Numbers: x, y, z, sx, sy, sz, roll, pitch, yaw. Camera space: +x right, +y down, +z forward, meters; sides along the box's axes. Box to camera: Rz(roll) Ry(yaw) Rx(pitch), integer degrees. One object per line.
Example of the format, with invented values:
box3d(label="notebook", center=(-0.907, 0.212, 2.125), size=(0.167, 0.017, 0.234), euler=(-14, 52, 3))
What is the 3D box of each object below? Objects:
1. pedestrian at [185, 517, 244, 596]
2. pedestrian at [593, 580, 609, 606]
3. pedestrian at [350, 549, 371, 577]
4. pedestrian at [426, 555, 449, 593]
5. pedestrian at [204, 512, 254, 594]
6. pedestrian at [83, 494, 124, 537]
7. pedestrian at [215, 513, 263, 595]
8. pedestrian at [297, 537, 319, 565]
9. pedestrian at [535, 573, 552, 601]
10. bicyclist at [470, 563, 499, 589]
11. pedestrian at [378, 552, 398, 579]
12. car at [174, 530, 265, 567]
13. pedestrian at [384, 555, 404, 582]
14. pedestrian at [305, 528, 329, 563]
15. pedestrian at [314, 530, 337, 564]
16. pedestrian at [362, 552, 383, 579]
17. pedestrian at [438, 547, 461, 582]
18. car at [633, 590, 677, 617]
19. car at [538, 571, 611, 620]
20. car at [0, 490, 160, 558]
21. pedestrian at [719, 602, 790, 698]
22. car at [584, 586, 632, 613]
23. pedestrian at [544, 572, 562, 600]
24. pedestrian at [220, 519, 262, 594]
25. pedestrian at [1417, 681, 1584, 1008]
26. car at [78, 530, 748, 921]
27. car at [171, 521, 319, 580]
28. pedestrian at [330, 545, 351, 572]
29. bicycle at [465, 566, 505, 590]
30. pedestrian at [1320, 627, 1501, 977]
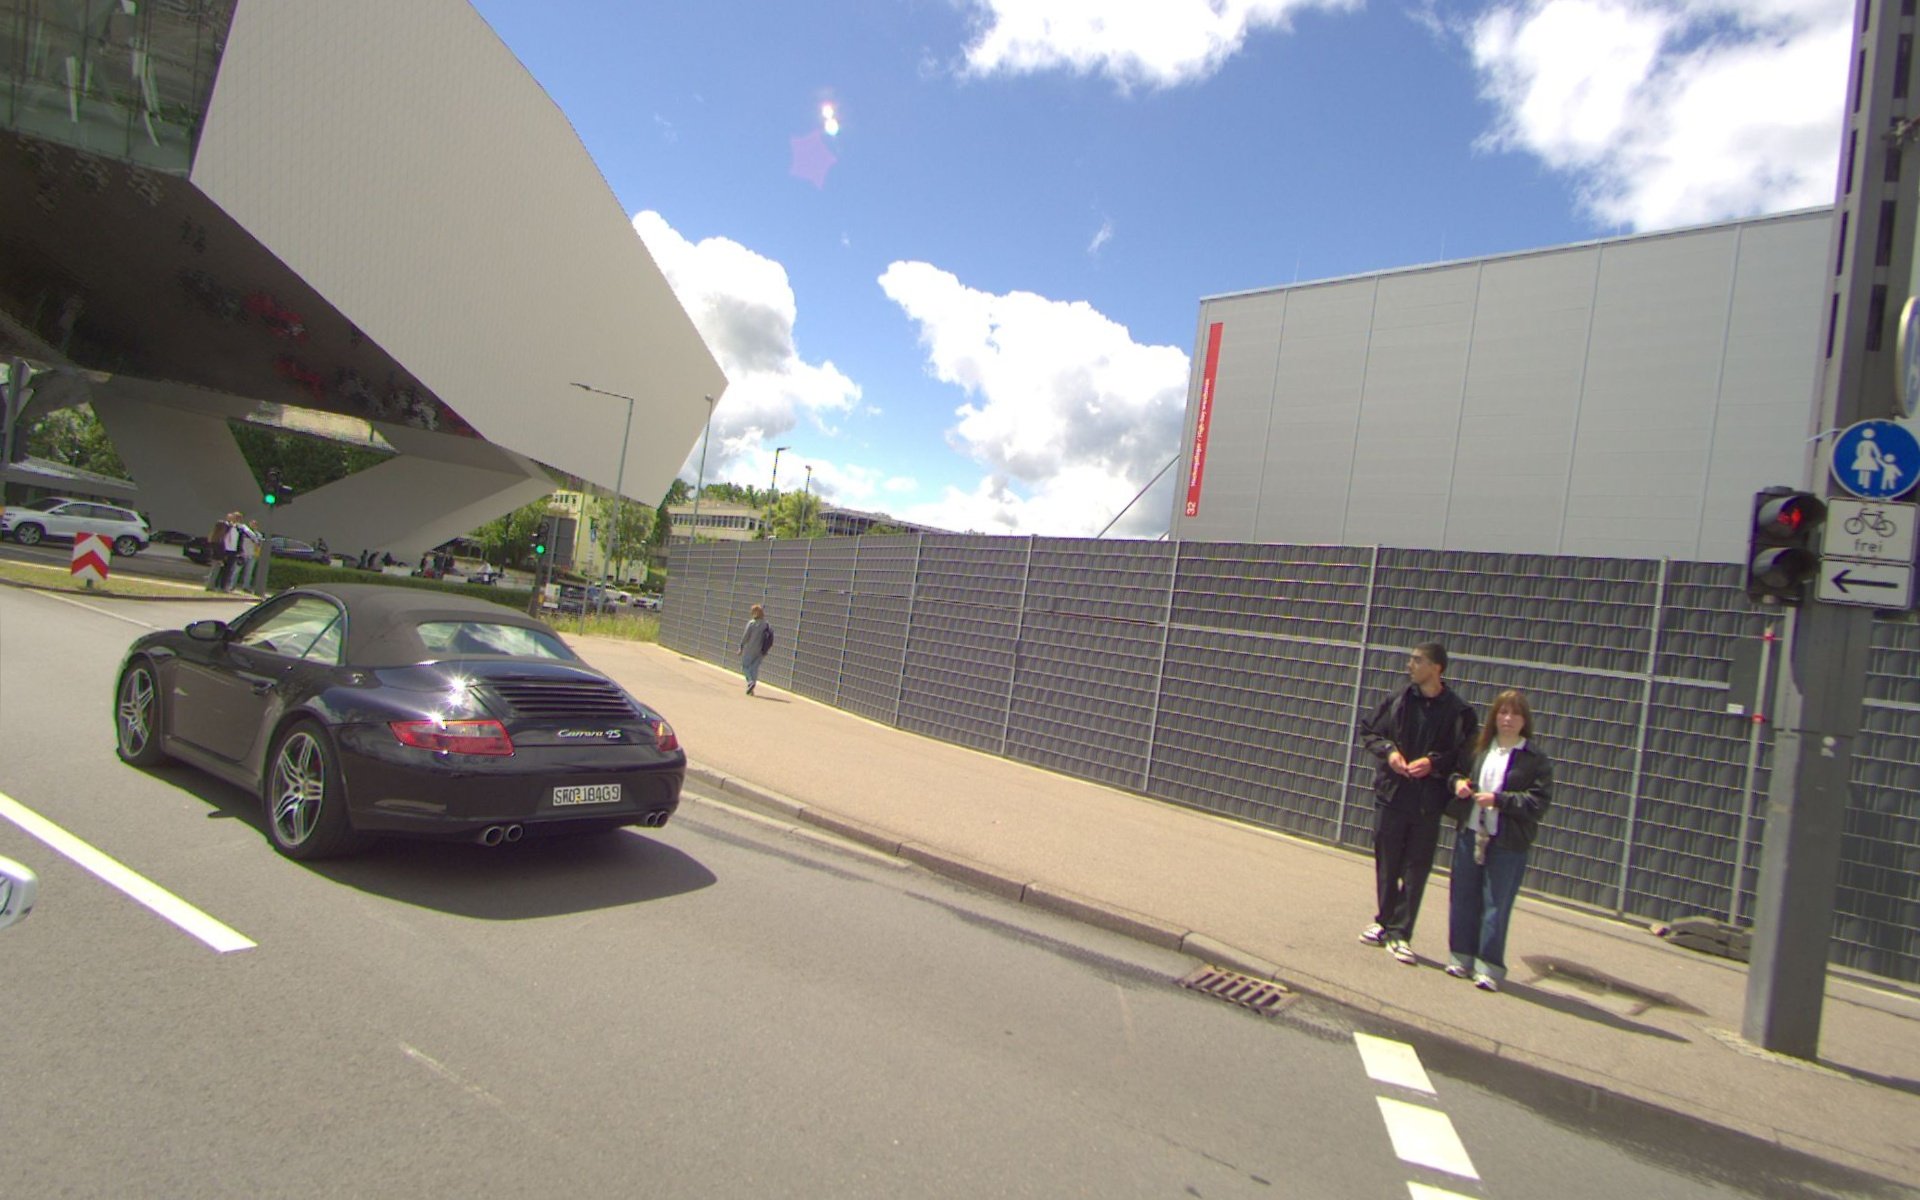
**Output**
box3d(label="pedestrian", center=(-16.865, -0.973, 22.766), size=(0.660, 1.656, 0.620), euler=(7, -2, -2))
box3d(label="pedestrian", center=(-29.946, -0.588, 83.971), size=(0.822, 2.036, 0.769), euler=(9, -3, -39))
box3d(label="pedestrian", center=(-41.626, -2.551, 69.871), size=(0.763, 1.758, 0.828), euler=(7, -2, -4))
box3d(label="pedestrian", center=(-29.402, -1.463, 56.631), size=(0.771, 2.036, 0.819), euler=(8, -2, -37))
box3d(label="pedestrian", center=(-17.123, -1.079, 23.579), size=(0.665, 1.815, 0.616), euler=(8, -2, -29))
box3d(label="pedestrian", center=(-38.610, -3.797, 45.372), size=(0.906, 1.695, 0.832), euler=(7, -2, 5))
box3d(label="pedestrian", center=(-17.435, -1.102, 24.336), size=(0.666, 1.867, 0.615), euler=(8, -2, -31))
box3d(label="pedestrian", center=(-44.966, -3.340, 69.344), size=(0.762, 1.758, 0.828), euler=(7, -2, -1))
box3d(label="pedestrian", center=(-32.933, -1.005, 79.493), size=(0.763, 2.036, 0.828), euler=(7, -2, -4))
box3d(label="bicyclist", center=(-26.269, -1.321, 55.611), size=(0.870, 1.289, 1.009), euler=(7, -2, 8))
box3d(label="pedestrian", center=(-41.043, -2.448, 72.194), size=(0.764, 1.758, 0.827), euler=(7, -2, -9))
box3d(label="car", center=(-45.825, -3.158, 62.344), size=(1.967, 1.566, 3.997), euler=(6, -4, 31))
box3d(label="pedestrian", center=(-41.373, -2.301, 73.596), size=(0.762, 1.758, 0.828), euler=(7, -2, -1))
box3d(label="pedestrian", center=(-41.013, -3.463, 64.171), size=(0.763, 2.036, 0.828), euler=(7, -2, -4))
box3d(label="pedestrian", center=(-41.231, -3.444, 65.386), size=(0.763, 2.036, 0.828), euler=(7, -2, -4))
box3d(label="pedestrian", center=(-41.983, -2.479, 71.897), size=(0.763, 1.758, 0.828), euler=(7, -2, -2))
box3d(label="pedestrian", center=(-31.555, -2.192, 62.140), size=(0.763, 2.036, 0.828), euler=(7, -2, -4))
box3d(label="car", center=(-24.904, 0.318, 82.256), size=(1.851, 1.661, 4.007), euler=(7, -3, 6))
box3d(label="car", center=(-16.963, -0.156, 44.463), size=(1.966, 1.721, 3.999), euler=(8, -3, -8))
box3d(label="car", center=(-27.885, -2.373, 31.482), size=(1.804, 1.568, 4.000), euler=(6, -1, 21))
box3d(label="pedestrian", center=(-3.702, 0.897, 18.129), size=(0.691, 1.604, 0.910), euler=(9, -3, -43))
box3d(label="car", center=(-34.650, -0.047, 98.969), size=(4.158, 2.036, 1.991), euler=(9, -3, -23))
box3d(label="pedestrian", center=(-30.944, -1.065, 76.512), size=(0.763, 2.036, 0.828), euler=(7, -2, -4))
box3d(label="pedestrian", center=(-18.079, -1.090, 25.303), size=(0.600, 1.779, 0.616), euler=(8, -2, -29))
box3d(label="pedestrian", center=(3.031, 1.318, 5.642), size=(0.652, 1.634, 0.465), euler=(6, -2, 32))
box3d(label="car", center=(-3.395, 0.522, 6.027), size=(3.936, 1.341, 1.836), euler=(8, 0, 34))
box3d(label="car", center=(-25.872, -1.748, 36.603), size=(1.803, 1.398, 4.165), euler=(9, -3, 11))
box3d(label="pedestrian", center=(-44.358, -2.986, 72.031), size=(0.763, 1.758, 0.828), euler=(7, -2, -4))
box3d(label="bicycle", center=(-26.288, -1.203, 55.669), size=(0.705, 0.983, 2.362), euler=(7, -3, 9))
box3d(label="pedestrian", center=(2.752, 1.168, 6.119), size=(0.780, 1.887, 0.661), euler=(6, -2, 29))
